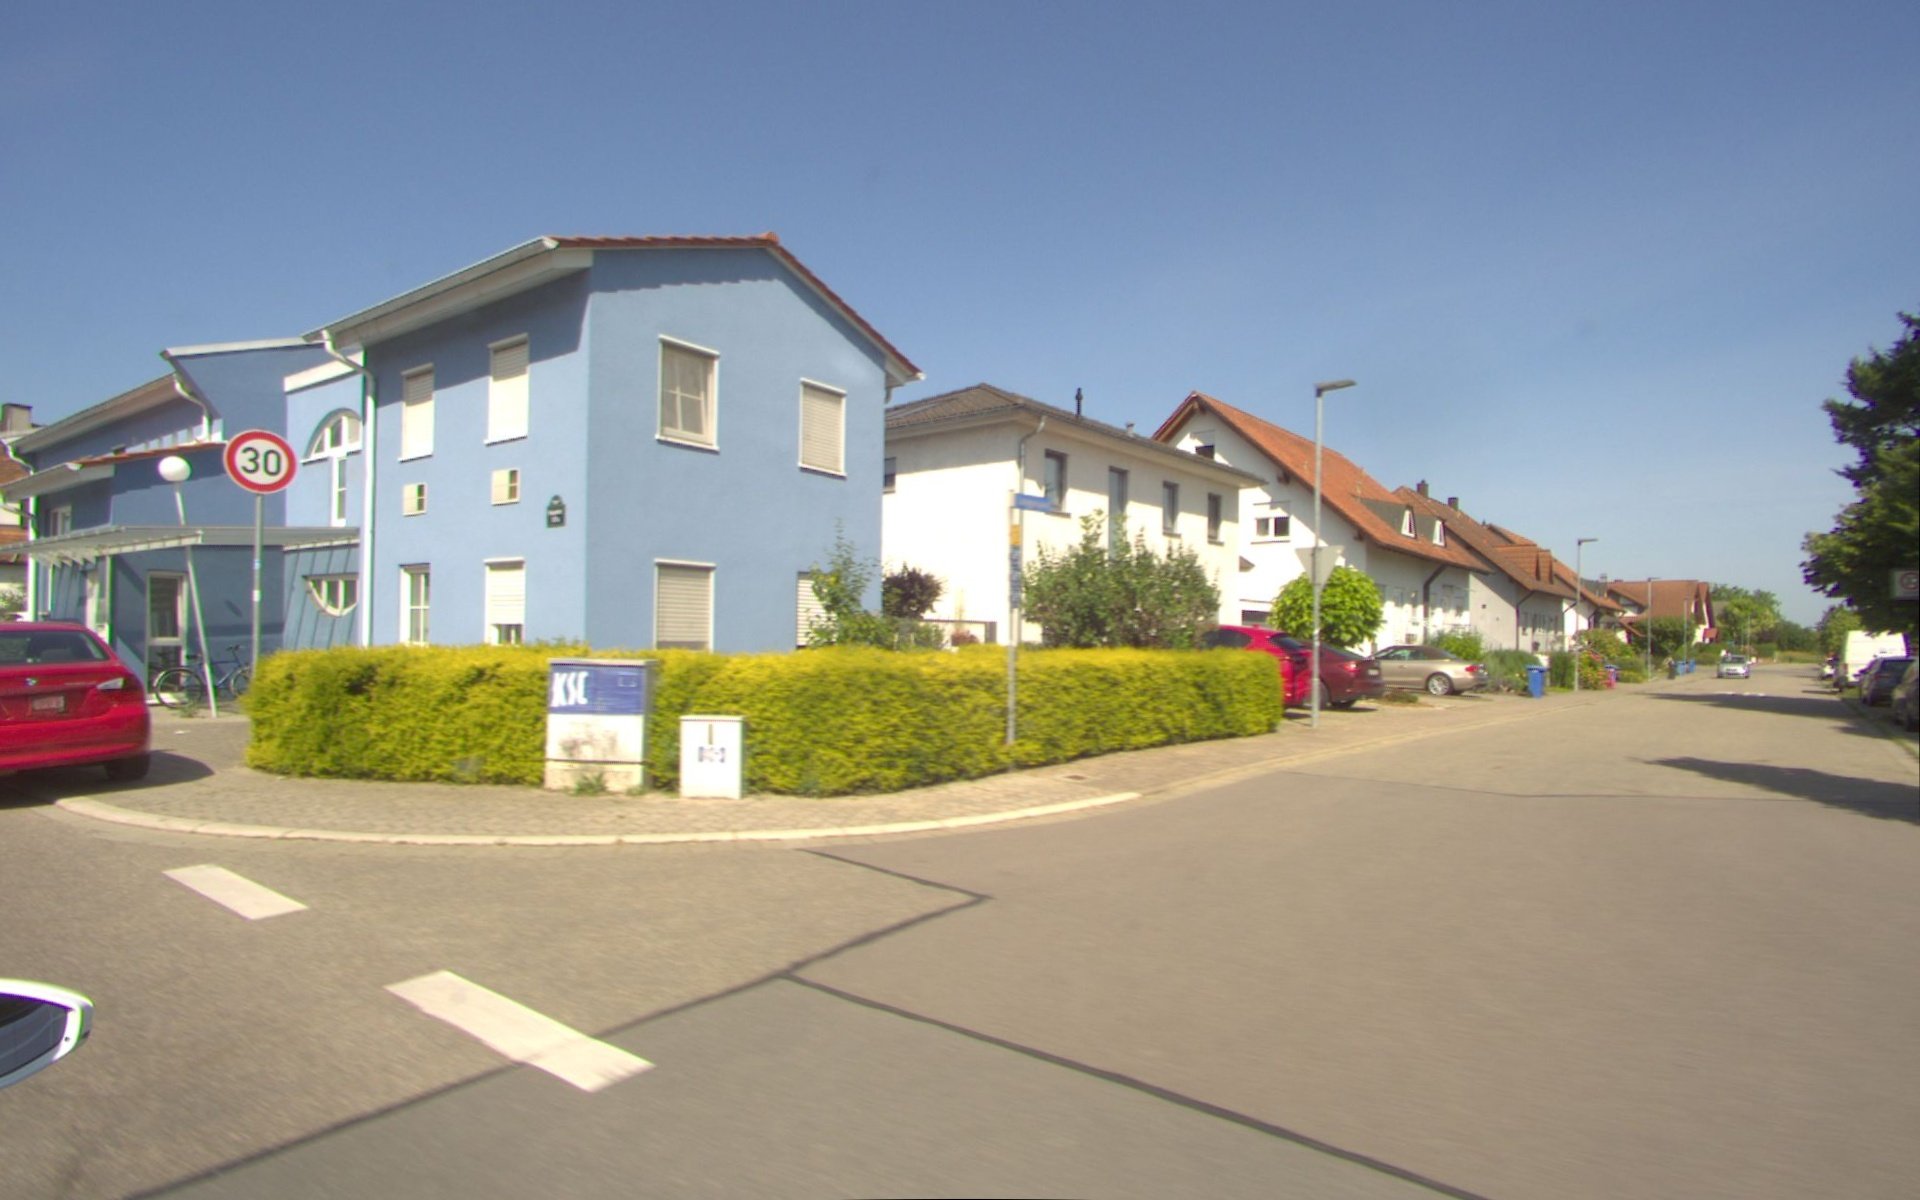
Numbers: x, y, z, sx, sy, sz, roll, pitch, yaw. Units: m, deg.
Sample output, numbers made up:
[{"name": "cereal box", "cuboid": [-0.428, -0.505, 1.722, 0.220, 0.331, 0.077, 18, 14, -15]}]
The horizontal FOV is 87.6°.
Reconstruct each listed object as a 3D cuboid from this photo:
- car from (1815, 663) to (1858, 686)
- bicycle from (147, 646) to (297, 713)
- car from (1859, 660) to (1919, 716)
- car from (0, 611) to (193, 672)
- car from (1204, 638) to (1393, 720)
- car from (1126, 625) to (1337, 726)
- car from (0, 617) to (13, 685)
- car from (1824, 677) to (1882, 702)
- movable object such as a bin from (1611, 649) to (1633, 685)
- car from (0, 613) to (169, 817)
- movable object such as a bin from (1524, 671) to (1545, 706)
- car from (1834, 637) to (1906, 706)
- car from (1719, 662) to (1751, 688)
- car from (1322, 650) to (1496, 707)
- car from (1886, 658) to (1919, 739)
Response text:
[{"name": "car", "cuboid": [56.189, 4.760, 64.211, 1.647, 1.216, 3.792, 0, -1, 35]}, {"name": "bicycle", "cuboid": [-12.433, 1.319, 16.933, 0.648, 0.994, 1.948, 0, 0, 36]}, {"name": "car", "cuboid": [28.335, 2.638, 30.090, 1.619, 1.556, 3.881, 0, -4, 37]}, {"name": "car", "cuboid": [-25.619, 1.171, 29.788, 1.789, 1.679, 4.160, 0, -1, 37]}, {"name": "car", "cuboid": [7.093, 1.625, 21.112, 3.434, 1.539, 1.614, -1, -4, 40]}, {"name": "car", "cuboid": [5.010, 1.355, 18.673, 3.434, 1.692, 1.628, -1, -4, 40]}, {"name": "car", "cuboid": [-22.424, 1.074, 21.921, 4.089, 1.438, 1.685, -1, -2, 35]}, {"name": "car", "cuboid": [44.397, 4.429, 49.864, 1.823, 1.137, 3.881, -1, -4, 37]}, {"name": "movable object such as a bin", "cuboid": [38.775, 3.938, 58.649, 1.012, 2.058, 0.912, 0, -3, 36]}, {"name": "car", "cuboid": [-8.800, 0.892, 8.958, 4.300, 1.514, 1.726, -1, 0, 38]}, {"name": "movable object such as a bin", "cuboid": [16.915, 2.592, 29.476, 0.458, 0.992, 0.385, 0, -3, 43]}, {"name": "car", "cuboid": [36.903, 2.834, 40.700, 1.823, 2.569, 3.878, 0, -1, 37]}, {"name": "car", "cuboid": [50.632, 4.889, 65.480, 1.619, 1.557, 3.879, 0, -2, 37]}, {"name": "car", "cuboid": [12.948, 2.245, 29.025, 4.336, 1.447, 1.686, -1, -4, 41]}, {"name": "car", "cuboid": [19.568, 1.956, 19.691, 1.619, 1.498, 3.881, 0, -4, 37]}]
